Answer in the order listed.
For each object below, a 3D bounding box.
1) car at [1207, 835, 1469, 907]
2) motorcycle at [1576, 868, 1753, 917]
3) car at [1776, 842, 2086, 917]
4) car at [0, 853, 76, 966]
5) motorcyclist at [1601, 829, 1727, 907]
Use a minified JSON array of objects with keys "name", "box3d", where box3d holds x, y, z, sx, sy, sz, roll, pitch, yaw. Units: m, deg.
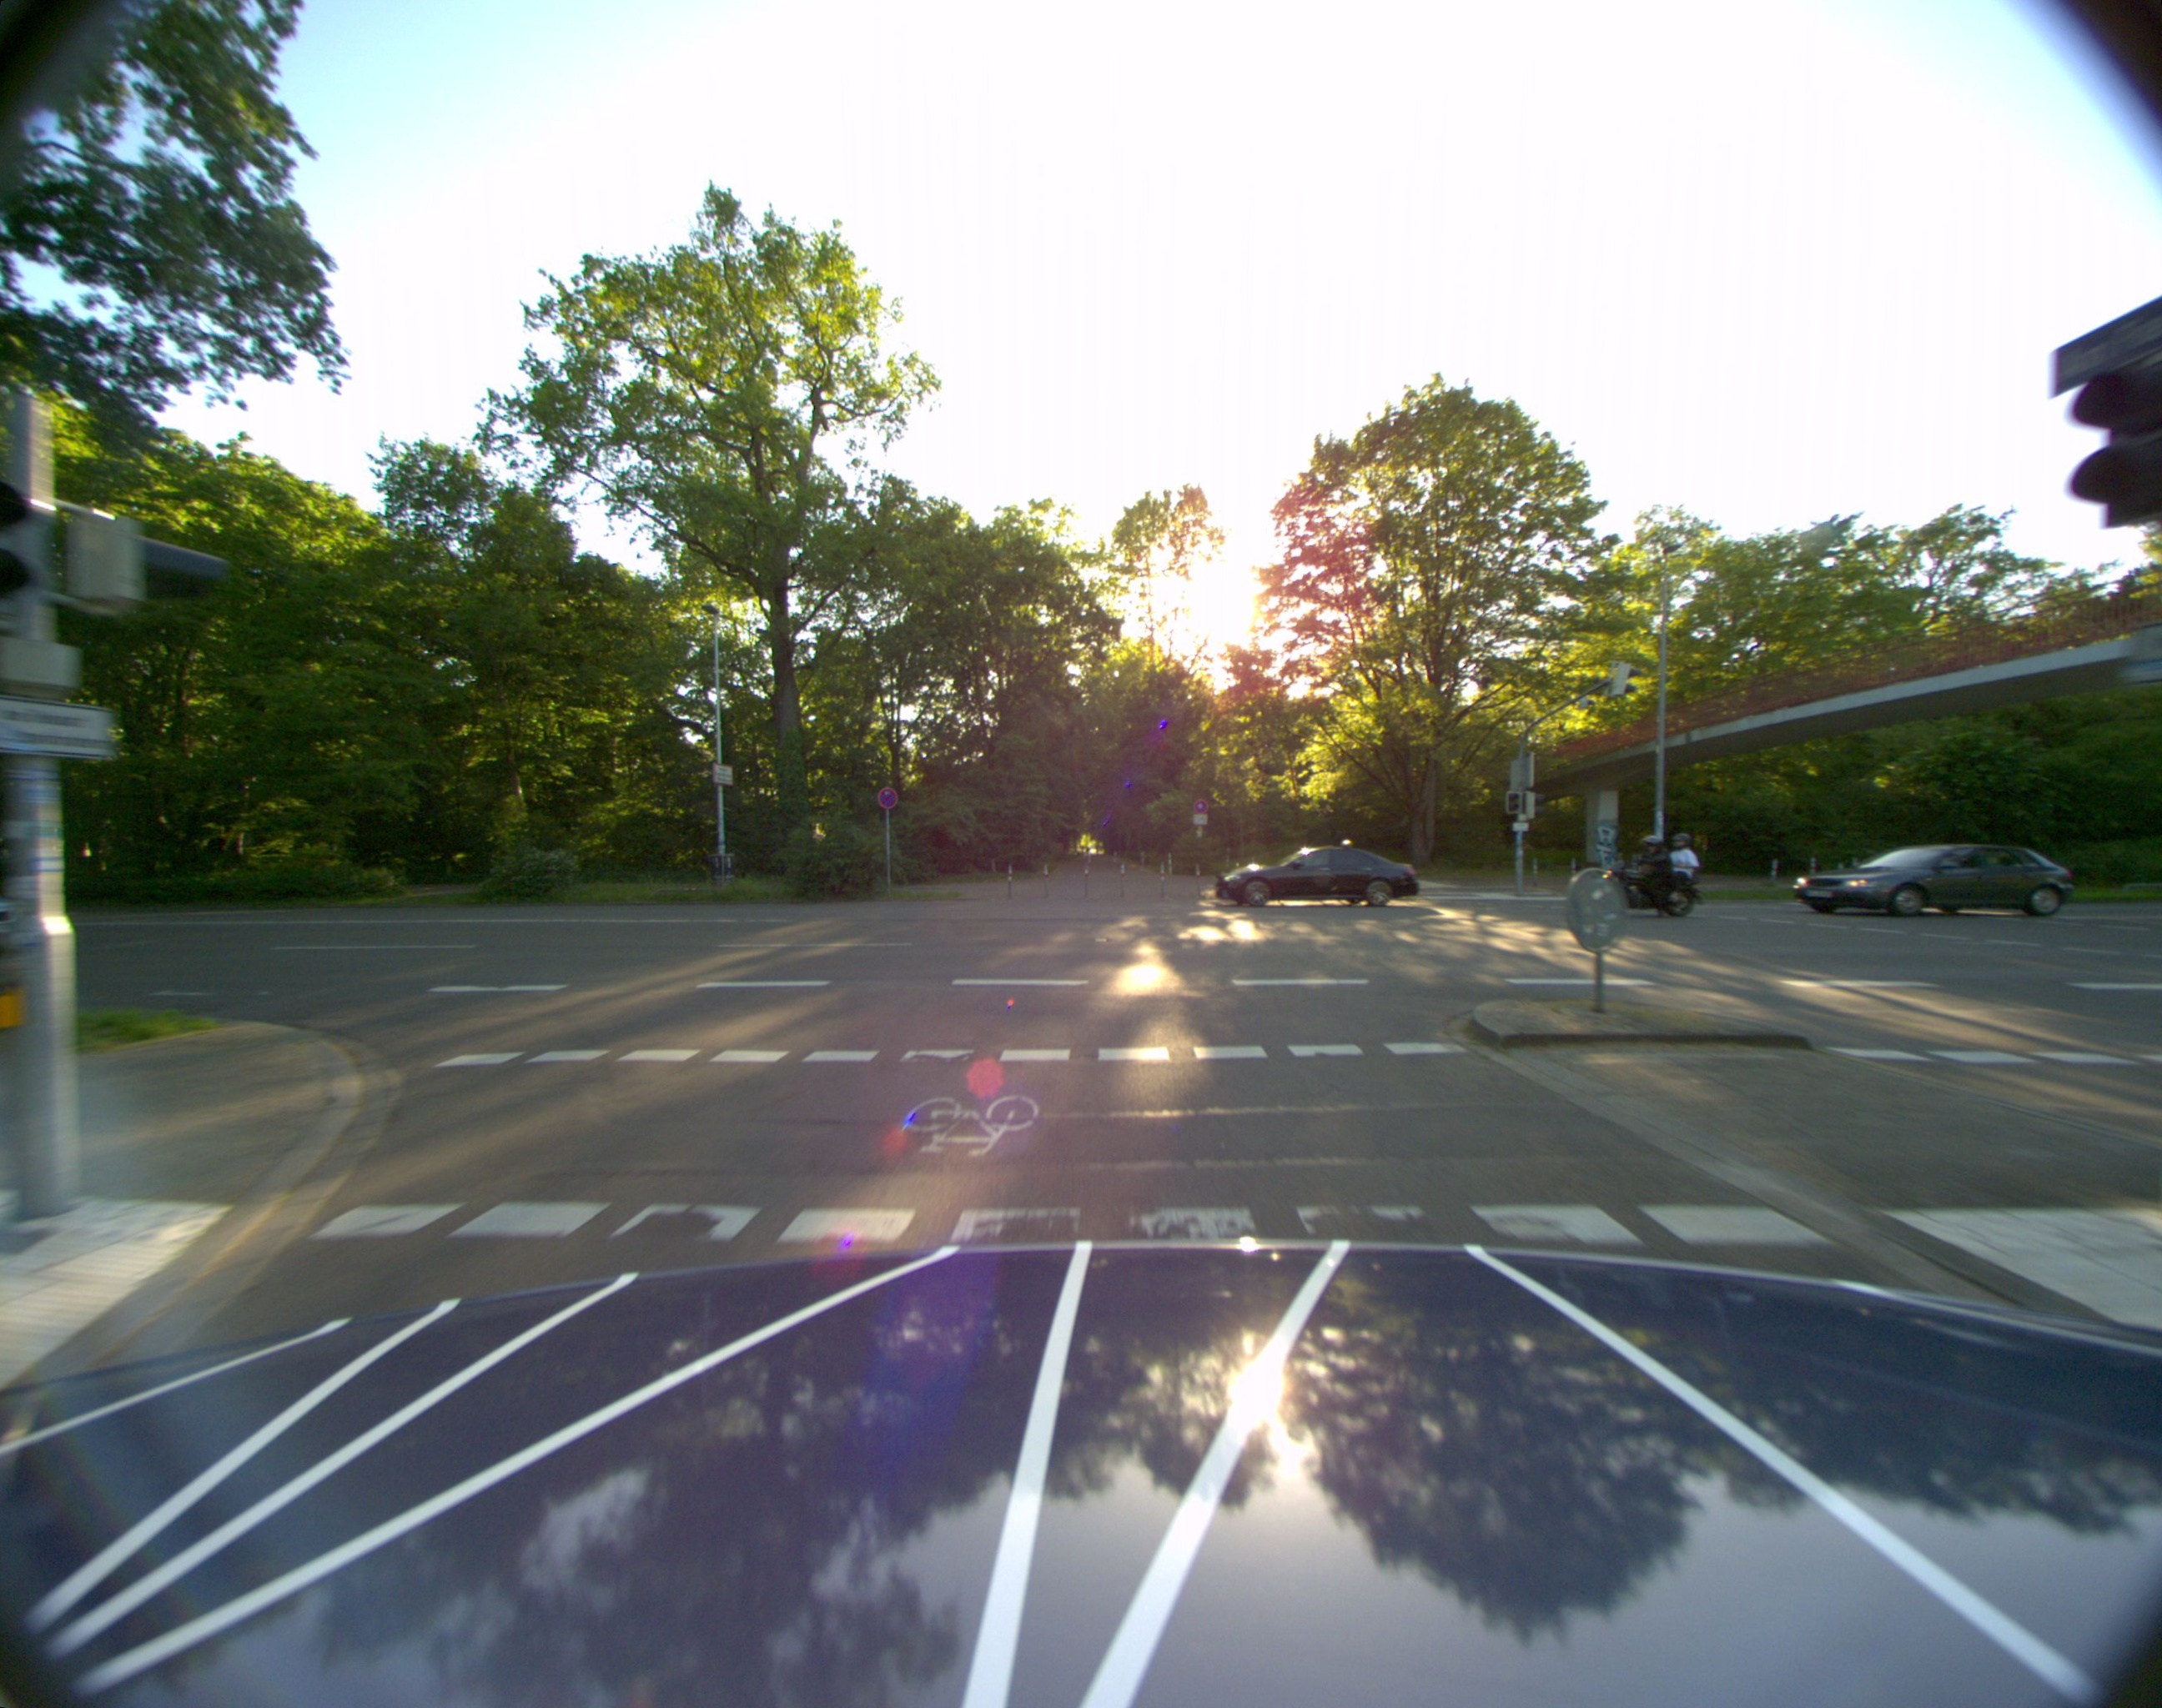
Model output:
[{"name":"car","box3d":[6.256,0.392,18.996,5.882,1.625,2.000,-1,1,0]},{"name":"motorcycle","box3d":[11.345,0.741,14.856,2.709,0.908,0.808,0,1,6]},{"name":"car","box3d":[16.639,0.472,15.050,3.997,1.381,1.869,0,0,1]},{"name":"car","box3d":[-17.637,0.834,10.779,4.315,1.571,1.812,0,3,1]},{"name":"motorcyclist","box3d":[11.363,0.260,14.869,1.565,1.419,1.139,-2,1,4]}]
